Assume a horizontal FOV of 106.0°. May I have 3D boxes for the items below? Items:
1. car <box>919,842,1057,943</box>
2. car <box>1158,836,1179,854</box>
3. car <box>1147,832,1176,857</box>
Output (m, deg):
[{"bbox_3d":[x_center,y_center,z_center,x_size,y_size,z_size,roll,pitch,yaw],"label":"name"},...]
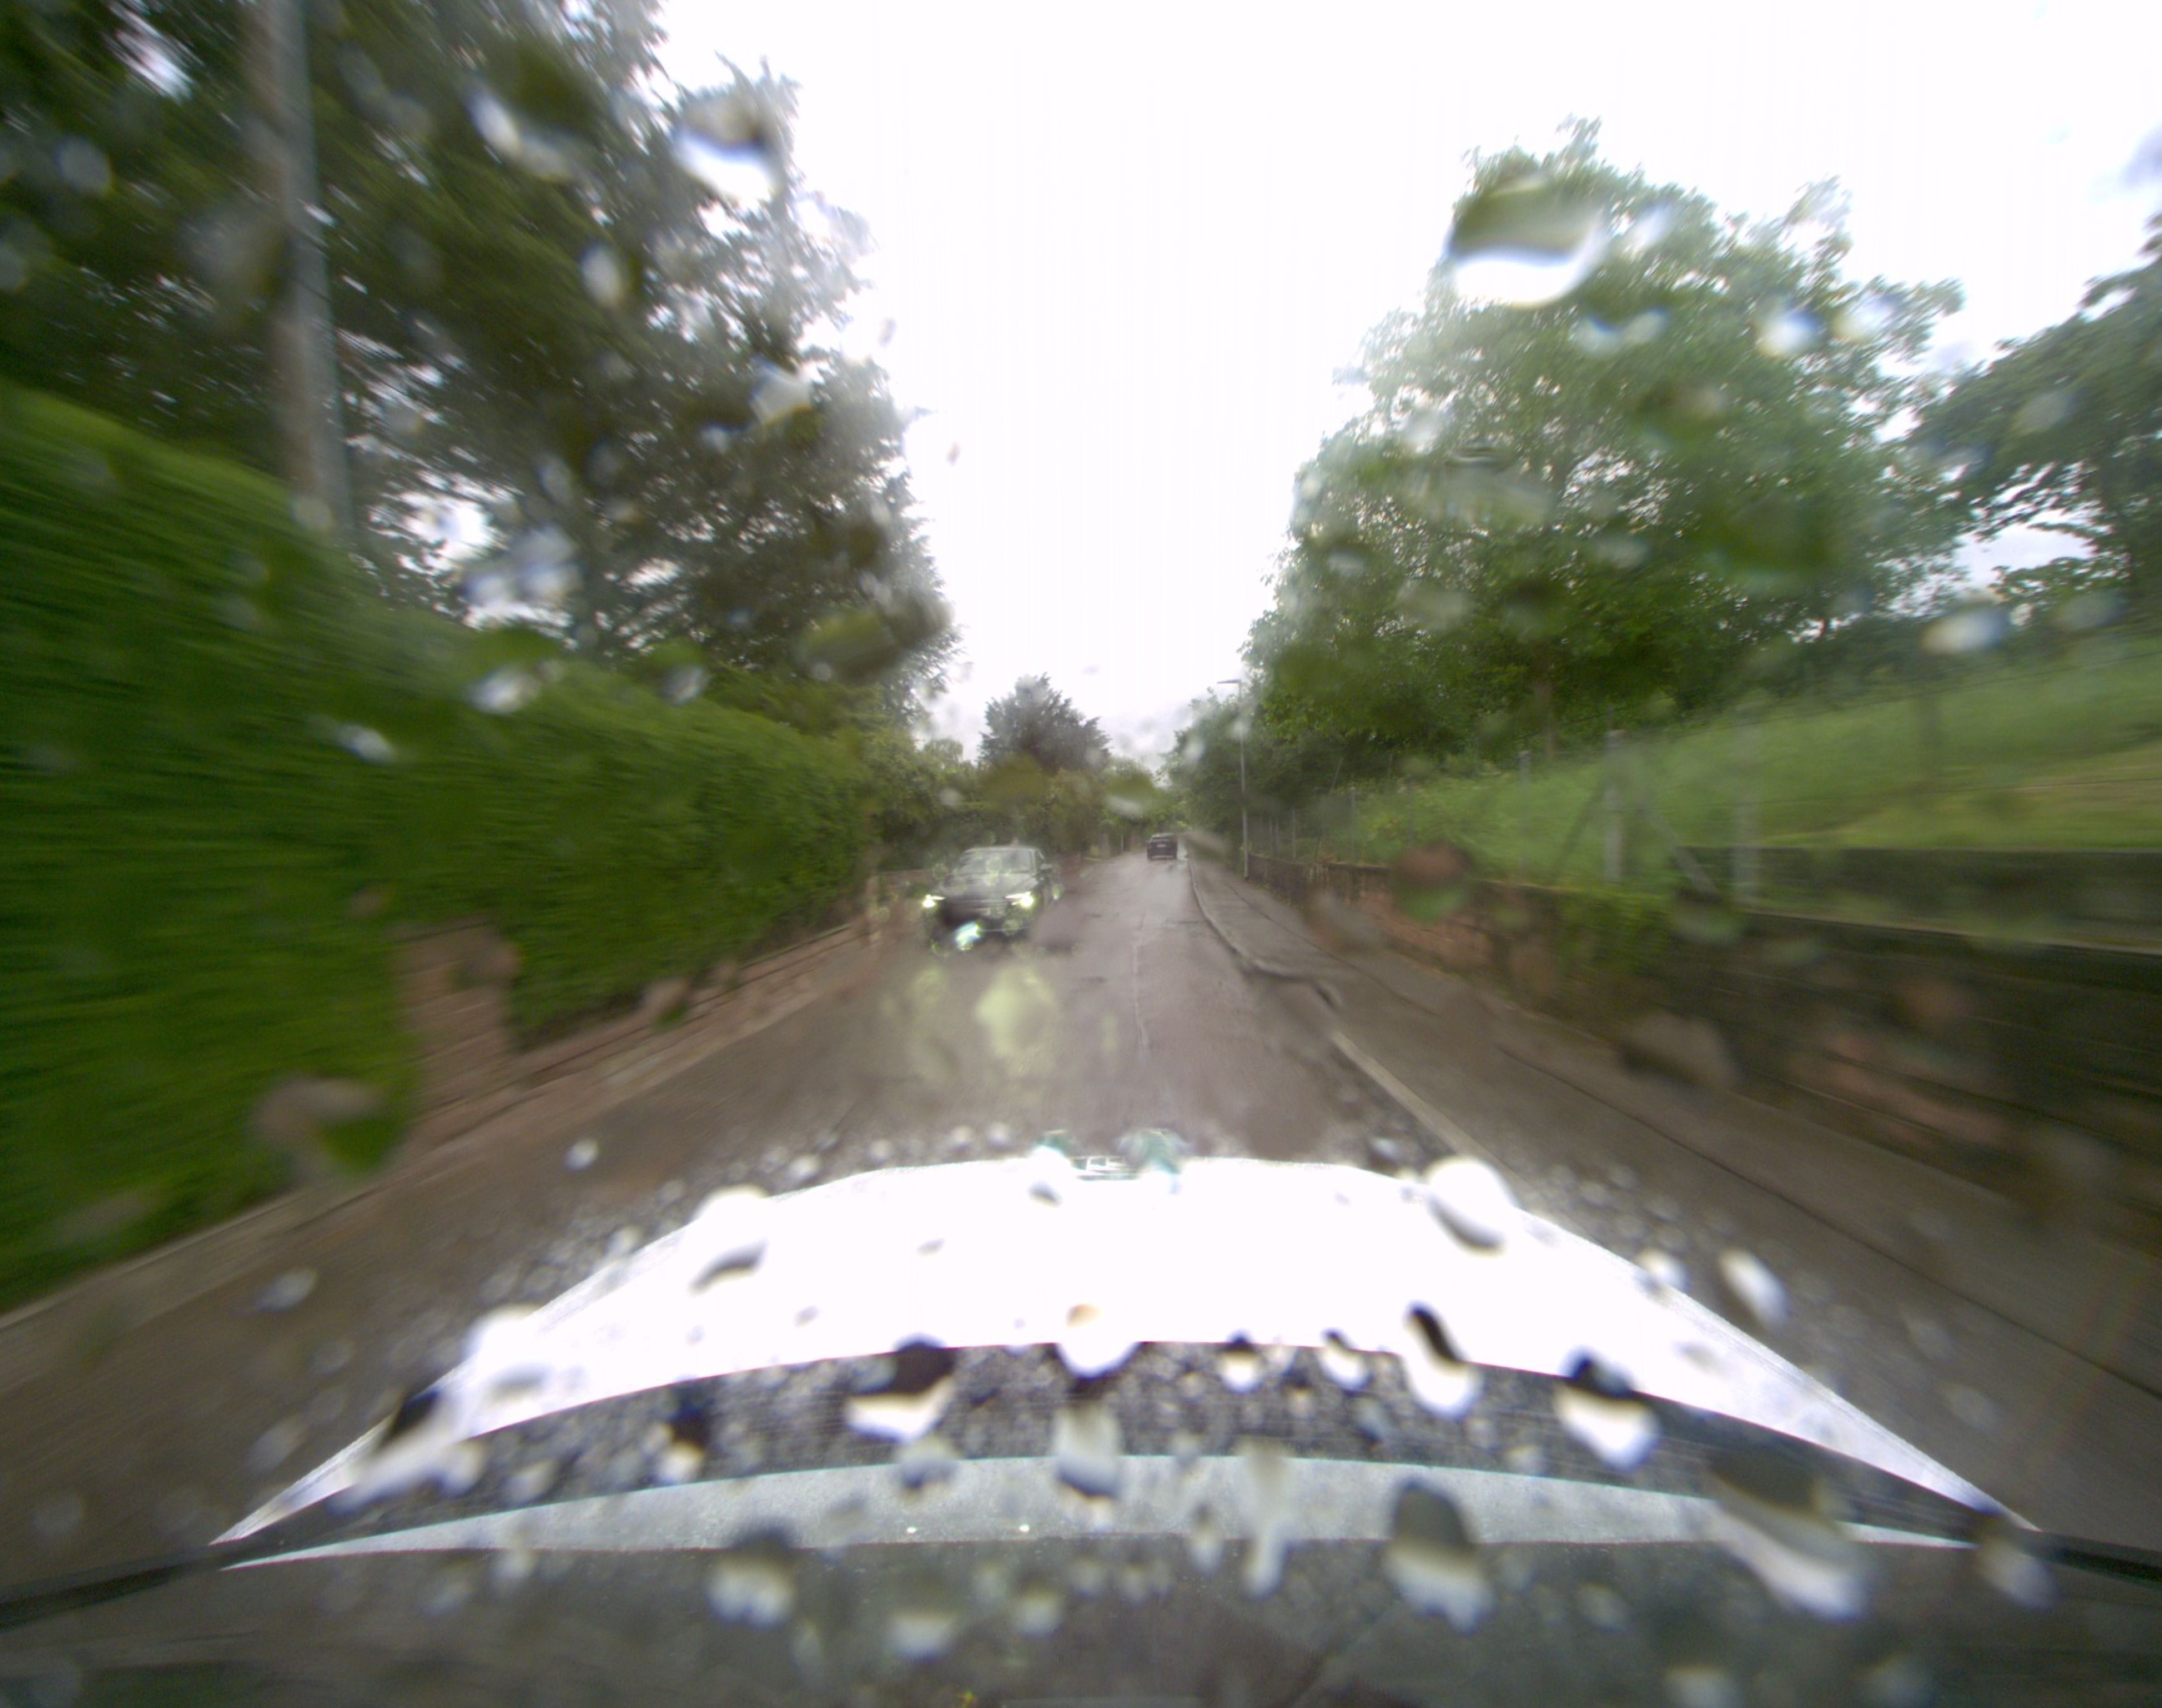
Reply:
[{"bbox_3d":[-1.494,0.557,14.711,1.882,1.523,4.423,-1,1,1],"label":"car"},{"bbox_3d":[7.506,-0.760,69.890,1.625,1.414,3.553,-1,0,8],"label":"car"},{"bbox_3d":[4.894,-0.549,49.323,1.626,1.450,3.552,-1,0,8],"label":"car"}]
